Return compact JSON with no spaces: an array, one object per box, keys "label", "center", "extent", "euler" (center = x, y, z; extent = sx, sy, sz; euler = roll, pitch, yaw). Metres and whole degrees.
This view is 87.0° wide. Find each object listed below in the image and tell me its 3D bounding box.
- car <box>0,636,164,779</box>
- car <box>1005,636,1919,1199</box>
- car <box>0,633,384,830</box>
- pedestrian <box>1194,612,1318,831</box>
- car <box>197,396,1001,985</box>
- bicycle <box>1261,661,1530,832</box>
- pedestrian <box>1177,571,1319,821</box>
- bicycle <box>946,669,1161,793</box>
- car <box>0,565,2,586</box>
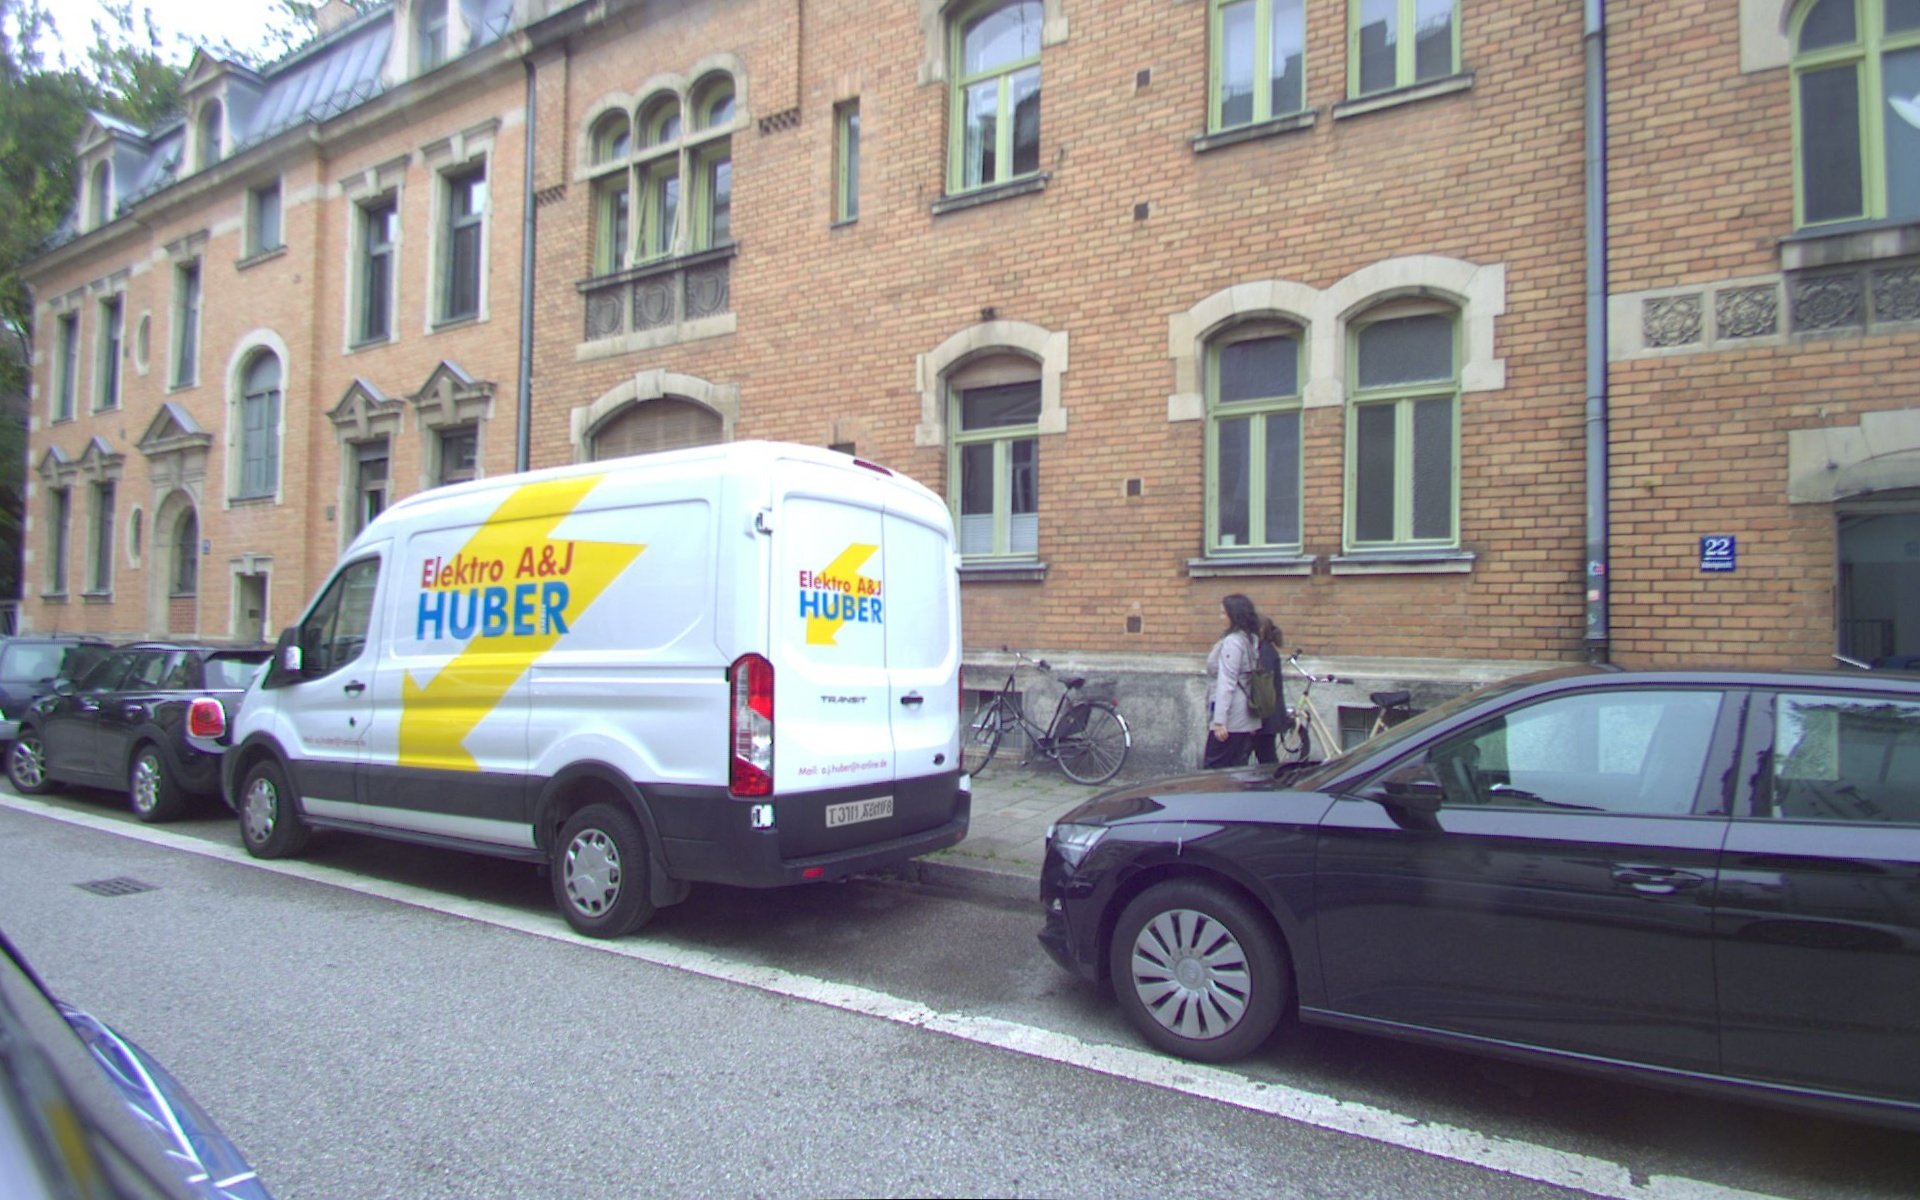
[{"label":"car","center":[-11.249,1.170,11.813],"extent":[3.968,1.454,1.678],"euler":[-1,-5,30]},{"label":"car","center":[2.377,0.894,3.611],"extent":[4.129,1.454,1.678],"euler":[-1,-4,30]},{"label":"car","center":[-6.960,1.058,9.073],"extent":[3.527,1.454,1.512],"euler":[-1,-5,30]},{"label":"pedestrian","center":[2.228,0.859,7.598],"extent":[0.725,1.524,0.690],"euler":[0,0,34]},{"label":"car","center":[-2.496,0.457,6.507],"extent":[5.204,2.497,1.967],"euler":[-1,-4,31]},{"label":"bicycle","center":[3.310,1.058,7.761],"extent":[1.821,1.137,0.626],"euler":[-1,-3,32]},{"label":"pedestrian","center":[1.902,0.587,6.667],"extent":[0.725,1.524,0.690],"euler":[0,0,34]},{"label":"bicycle","center":[0.822,1.151,9.236],"extent":[1.917,0.993,0.497],"euler":[-1,-1,32]},{"label":"car","center":[-16.279,0.731,14.757],"extent":[4.405,2.560,2.098],"euler":[-2,-6,31]}]
